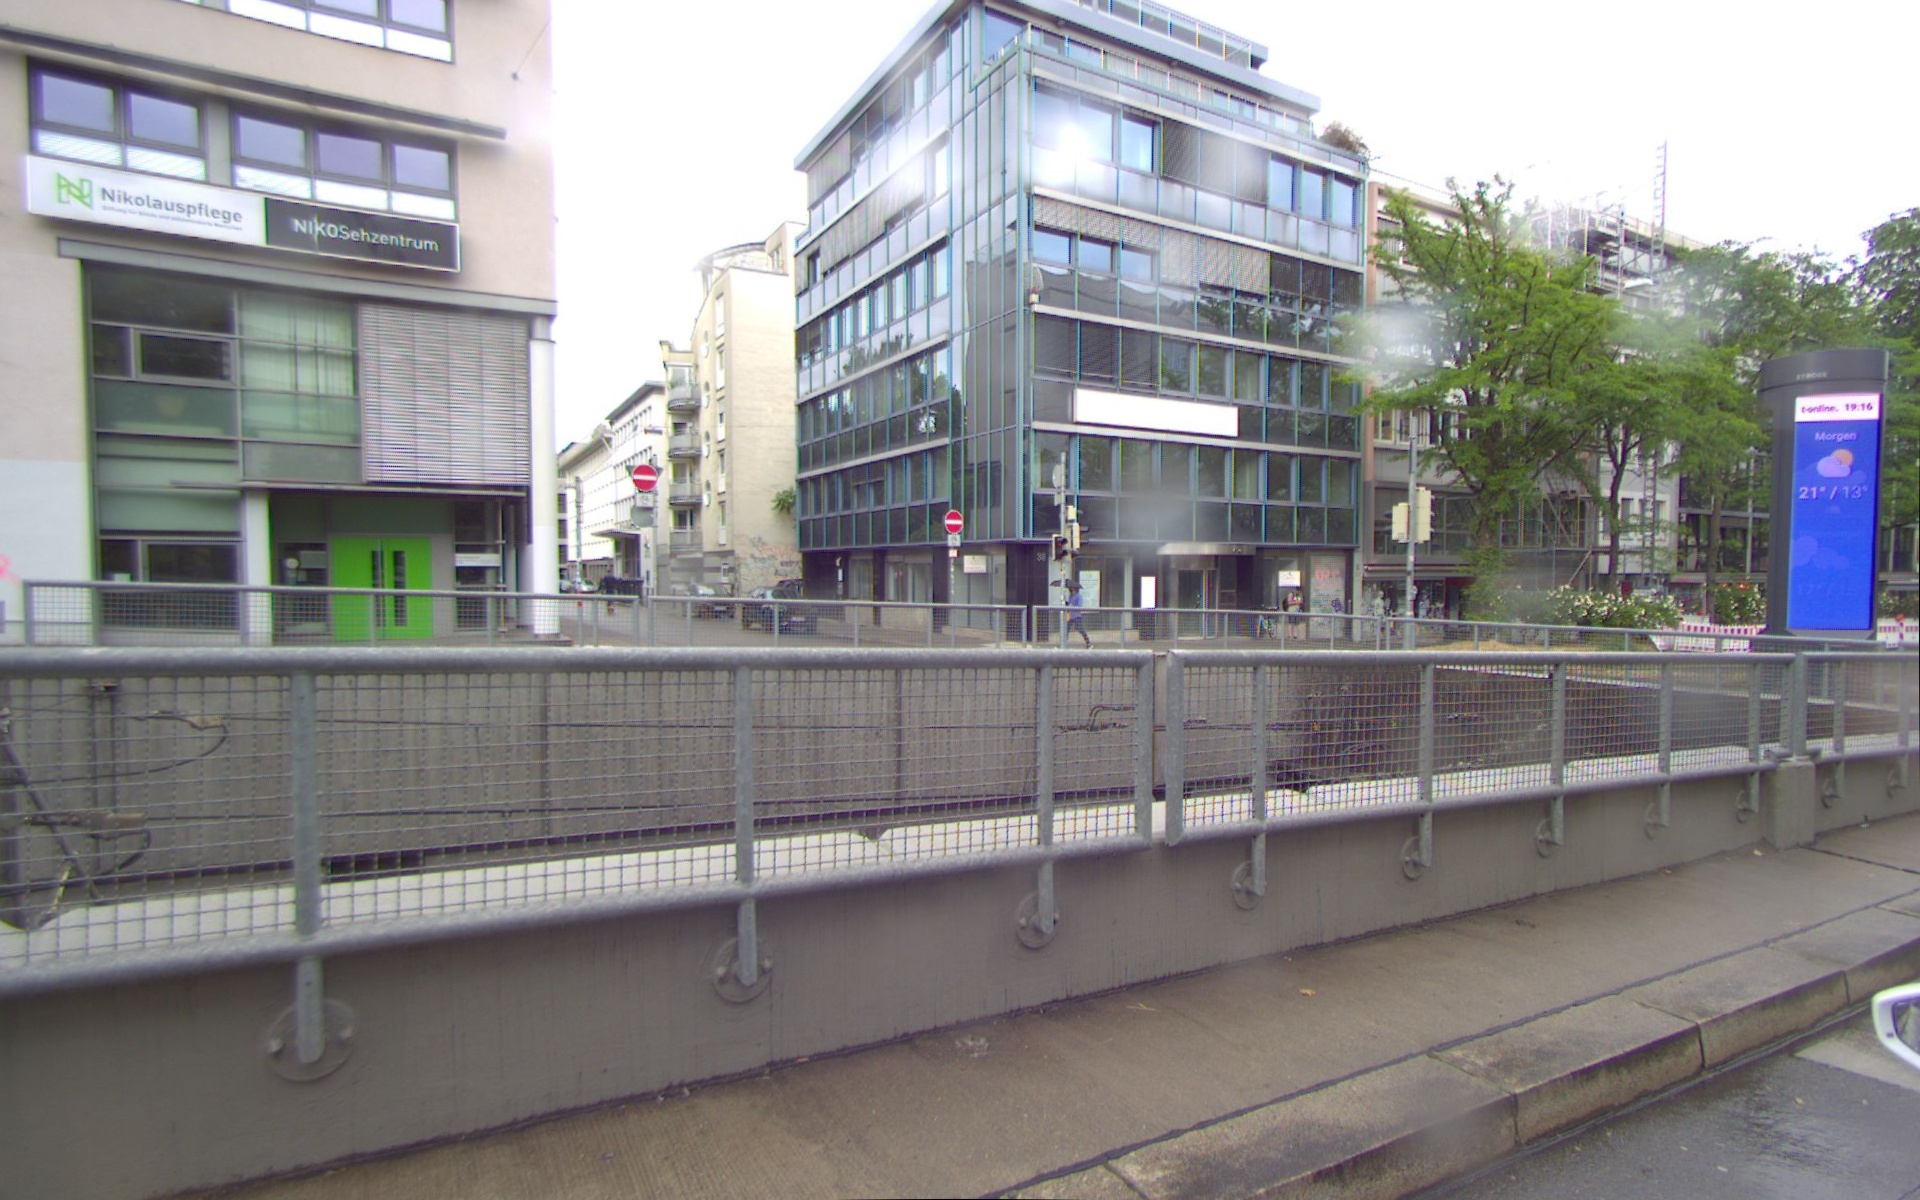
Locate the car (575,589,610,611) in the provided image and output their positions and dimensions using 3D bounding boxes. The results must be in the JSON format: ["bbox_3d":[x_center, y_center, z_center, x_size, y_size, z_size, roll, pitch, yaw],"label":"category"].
[{"bbox_3d":[-27.727,0.014,75.738,1.777,1.578,3.967,1,0,-30],"label":"car"}]

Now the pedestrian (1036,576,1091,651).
[{"bbox_3d":[2.637,0.331,25.683,1.047,1.863,0.853,1,2,-30],"label":"pedestrian"}]

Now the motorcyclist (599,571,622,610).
[{"bbox_3d":[-16.617,-0.464,47.696,0.850,1.832,1.007,1,1,-29],"label":"motorcyclist"}]

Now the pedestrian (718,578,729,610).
[{"bbox_3d":[-12.550,-0.299,53.266,0.443,1.664,0.326,1,2,-35],"label":"pedestrian"}]

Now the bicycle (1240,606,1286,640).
[{"bbox_3d":[9.865,0.754,32.723,1.544,1.100,0.444,1,1,-27],"label":"bicycle"}]

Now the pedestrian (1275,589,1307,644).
[{"bbox_3d":[10.945,0.550,33.231,0.688,1.765,0.691,1,2,-35],"label":"pedestrian"}]

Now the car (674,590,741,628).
[{"bbox_3d":[-11.110,0.367,44.110,1.777,1.578,3.966,1,0,-31],"label":"car"}]

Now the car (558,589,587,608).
[{"bbox_3d":[-33.978,-0.133,88.036,1.777,1.578,3.967,1,0,-30],"label":"car"}]

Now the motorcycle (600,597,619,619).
[{"bbox_3d":[-16.656,0.379,47.708,0.696,0.984,0.977,1,2,-29],"label":"motorcycle"}]

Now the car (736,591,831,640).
[{"bbox_3d":[-6.245,0.506,35.172,1.977,1.578,3.966,1,0,-31],"label":"car"}]
